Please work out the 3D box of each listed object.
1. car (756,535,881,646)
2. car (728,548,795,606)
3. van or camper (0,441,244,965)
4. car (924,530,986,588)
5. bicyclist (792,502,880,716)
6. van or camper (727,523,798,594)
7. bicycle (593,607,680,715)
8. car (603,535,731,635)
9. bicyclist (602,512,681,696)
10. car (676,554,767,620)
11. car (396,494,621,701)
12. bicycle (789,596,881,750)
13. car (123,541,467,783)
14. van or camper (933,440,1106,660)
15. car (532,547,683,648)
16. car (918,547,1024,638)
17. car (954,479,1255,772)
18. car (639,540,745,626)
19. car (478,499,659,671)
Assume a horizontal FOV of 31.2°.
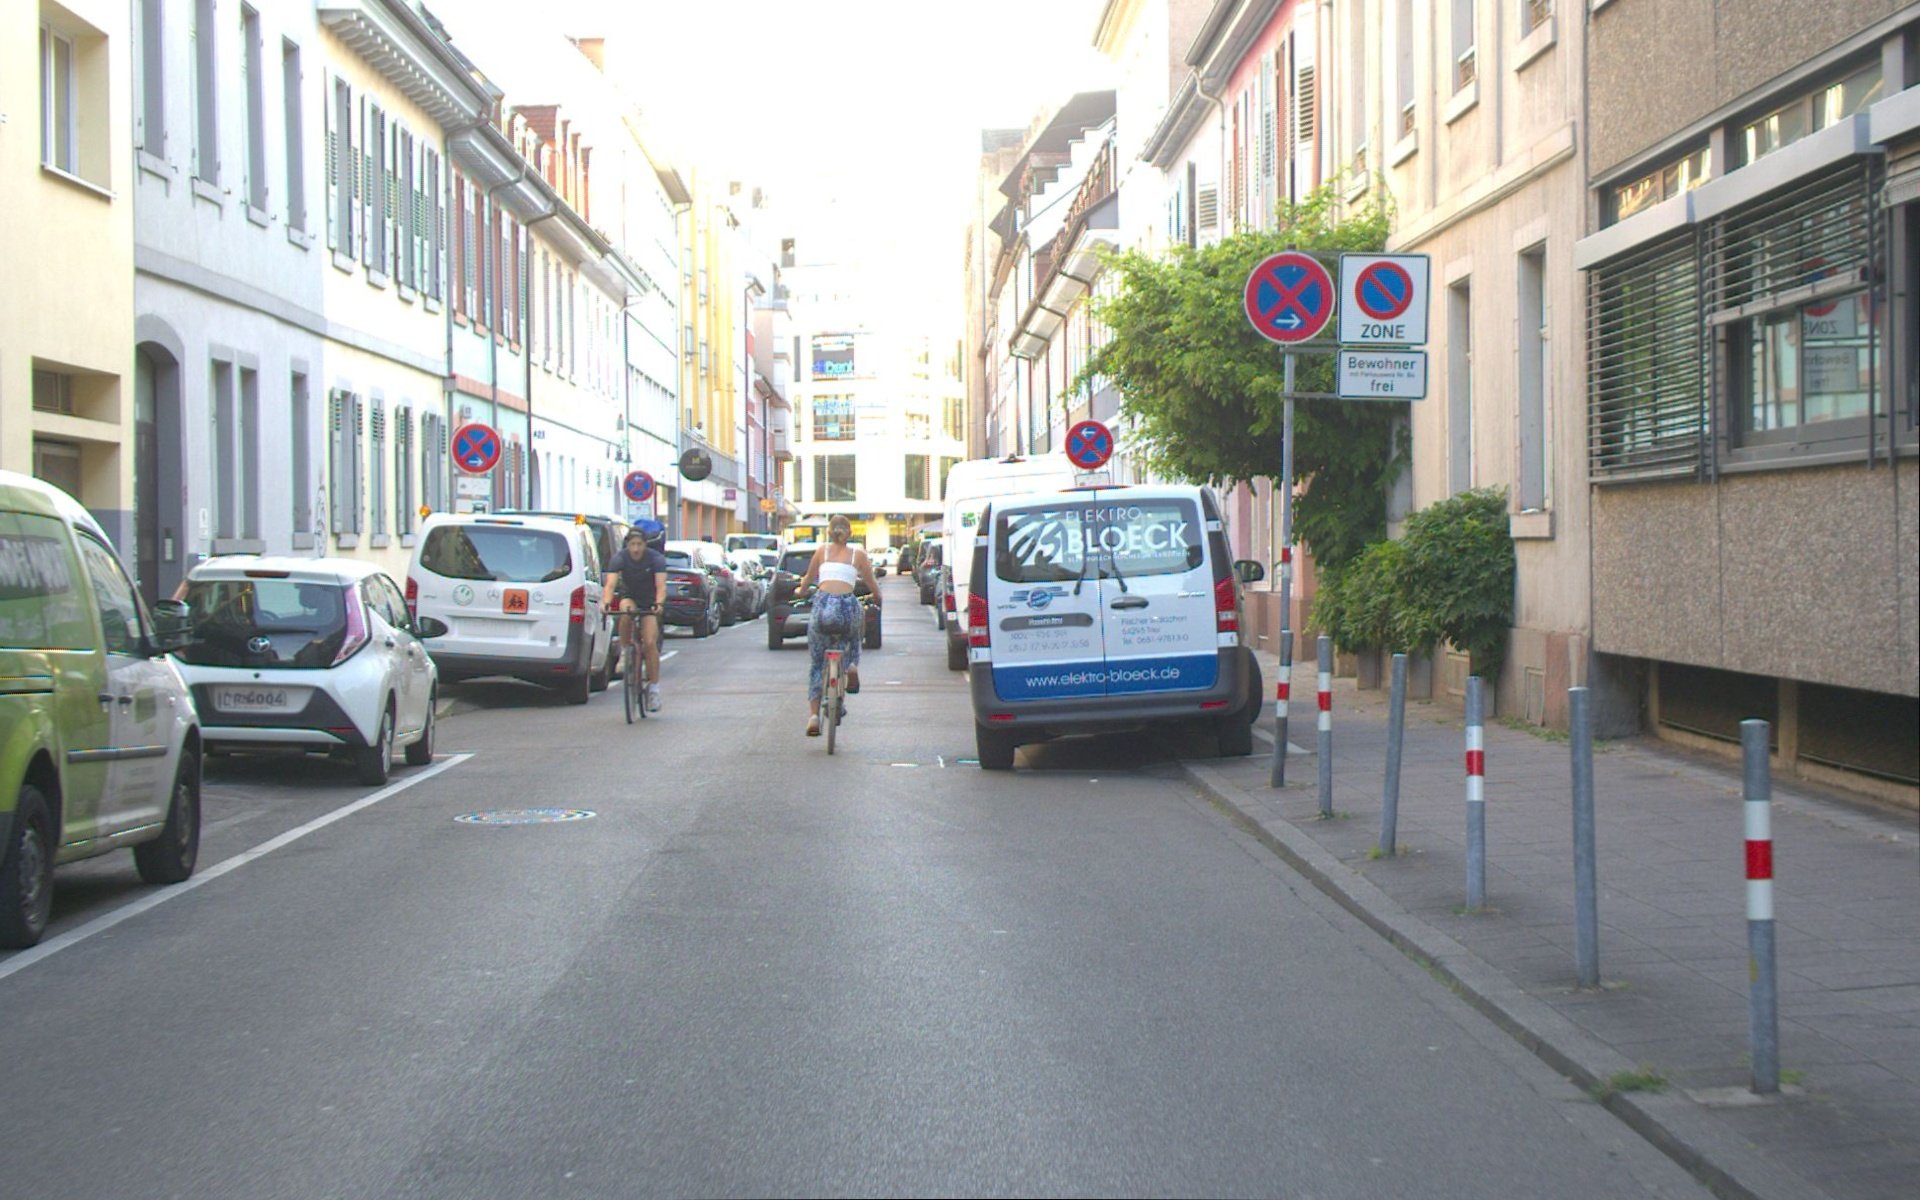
[{"bbox_3d":[-2.122,-0.165,52.453,1.819,1.612,4.000,1,1,-1],"label":"car"},{"bbox_3d":[-5.430,-0.652,94.513,1.653,1.555,3.606,1,1,-1],"label":"car"},{"bbox_3d":[-4.267,0.342,14.058,1.772,1.842,4.178,-1,1,0],"label":"van or camper"},{"bbox_3d":[-0.155,-1.126,94.876,1.653,1.555,3.606,1,1,-1],"label":"car"},{"bbox_3d":[-0.916,0.061,25.451,0.621,1.569,0.683,0,1,0],"label":"bicyclist"},{"bbox_3d":[-5.744,-1.210,100.352,1.844,2.006,4.678,1,1,-1],"label":"van or camper"},{"bbox_3d":[-2.902,0.538,30.997,0.634,0.919,1.779,0,1,-1],"label":"bicycle"},{"bbox_3d":[-5.095,-0.285,60.239,1.803,1.671,4.490,-1,1,1],"label":"car"},{"bbox_3d":[-2.869,0.031,31.012,0.623,1.634,1.081,0,1,-1],"label":"bicyclist"},{"bbox_3d":[-5.365,-0.314,77.733,1.918,1.429,4.294,1,1,-3],"label":"car"},{"bbox_3d":[-4.680,-0.071,36.278,1.862,2.007,5.107,-1,1,-2],"label":"car"},{"bbox_3d":[-0.911,0.520,25.384,0.613,1.078,1.809,0,1,0],"label":"bicycle"},{"bbox_3d":[-4.437,0.371,23.407,1.662,1.444,3.521,3,1,-1],"label":"car"},{"bbox_3d":[0.724,-0.664,45.046,2.050,2.628,7.063,-1,1,0],"label":"van or camper"},{"bbox_3d":[-5.054,-0.066,49.733,1.765,1.397,4.263,0,1,0],"label":"car"},{"bbox_3d":[0.223,-0.169,65.119,1.819,1.525,5.071,-4,1,1],"label":"car"},{"bbox_3d":[0.995,0.123,25.125,1.936,1.891,5.277,-1,1,1],"label":"car"},{"bbox_3d":[-5.532,-0.370,71.493,1.997,1.701,4.536,1,1,-2],"label":"car"},{"bbox_3d":[-4.829,-0.219,42.951,1.862,2.007,4.814,-1,1,-2],"label":"car"}]
